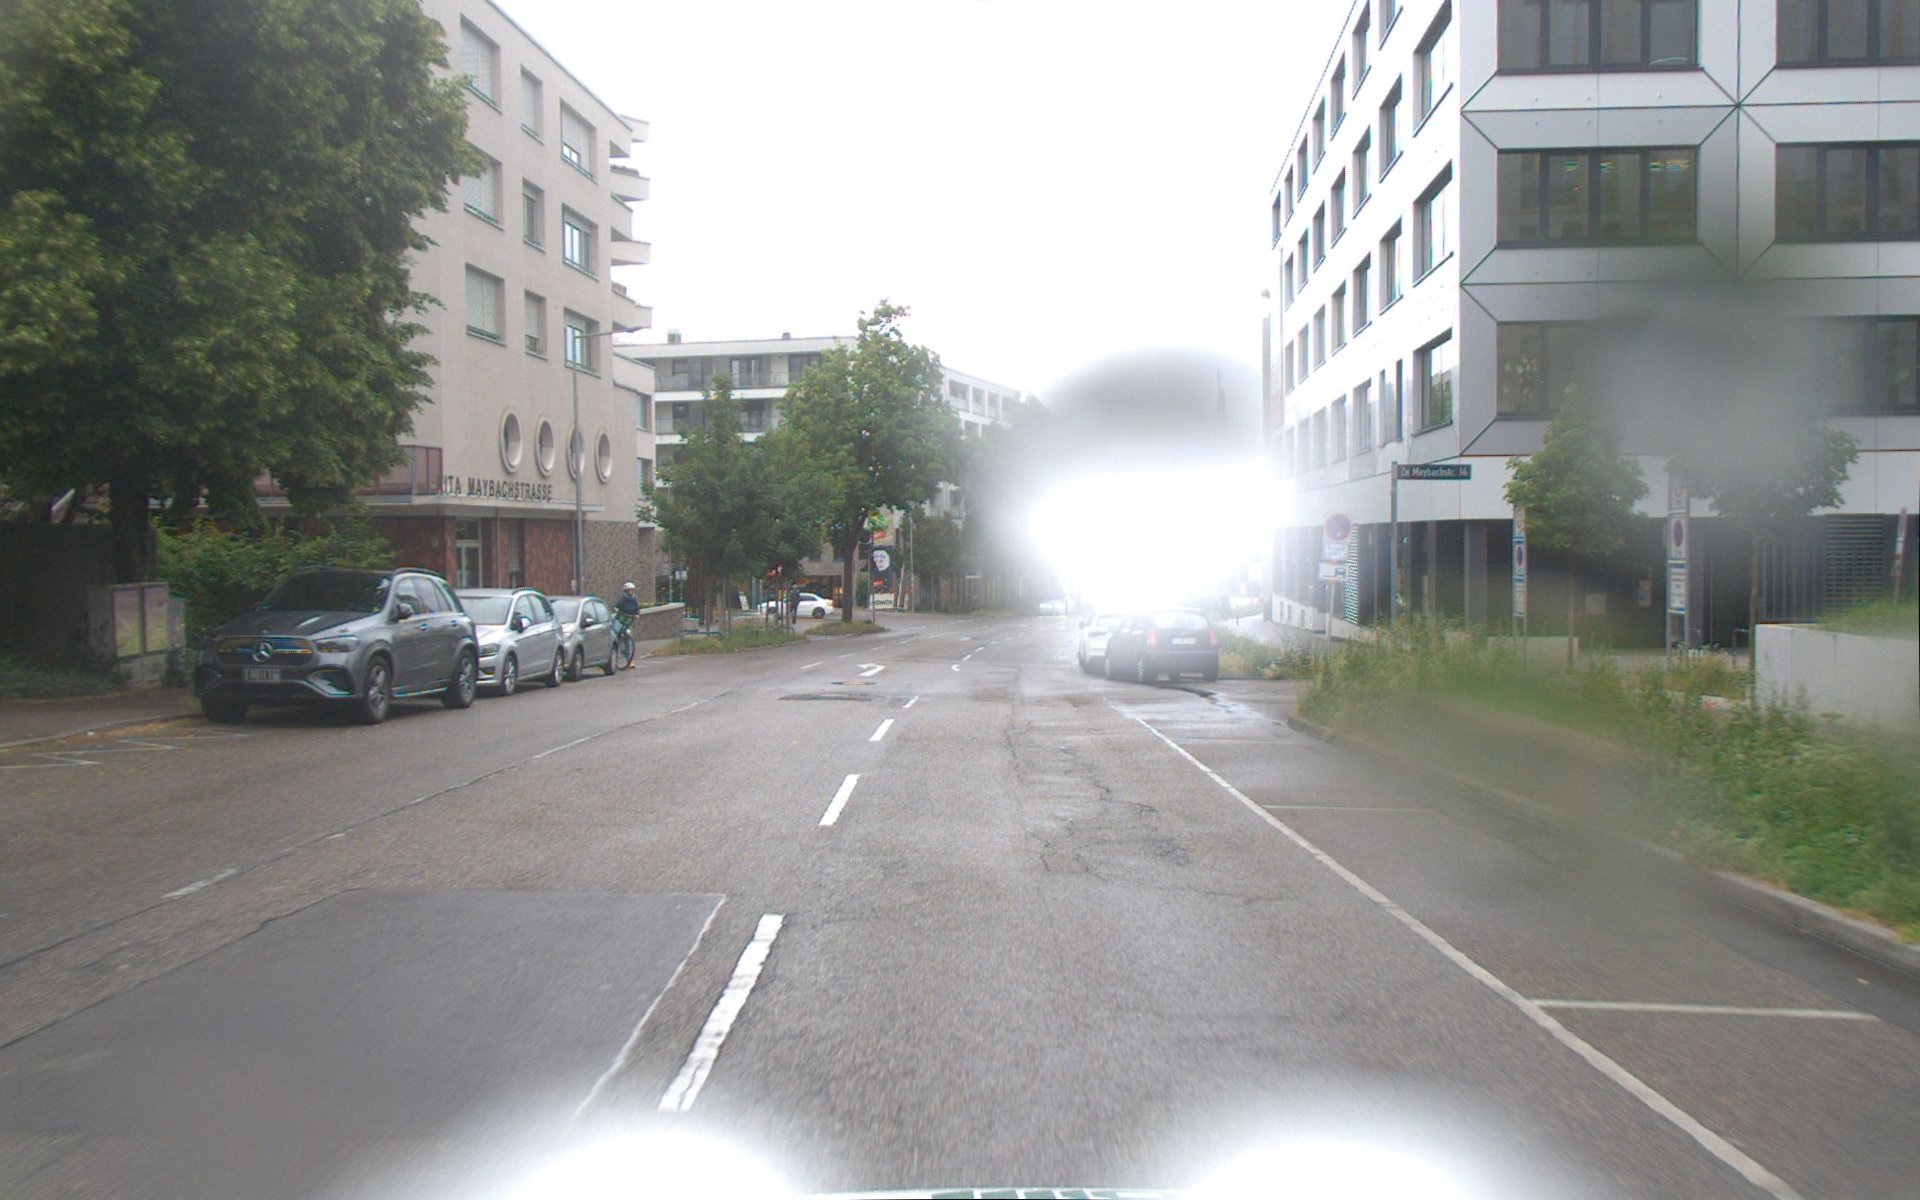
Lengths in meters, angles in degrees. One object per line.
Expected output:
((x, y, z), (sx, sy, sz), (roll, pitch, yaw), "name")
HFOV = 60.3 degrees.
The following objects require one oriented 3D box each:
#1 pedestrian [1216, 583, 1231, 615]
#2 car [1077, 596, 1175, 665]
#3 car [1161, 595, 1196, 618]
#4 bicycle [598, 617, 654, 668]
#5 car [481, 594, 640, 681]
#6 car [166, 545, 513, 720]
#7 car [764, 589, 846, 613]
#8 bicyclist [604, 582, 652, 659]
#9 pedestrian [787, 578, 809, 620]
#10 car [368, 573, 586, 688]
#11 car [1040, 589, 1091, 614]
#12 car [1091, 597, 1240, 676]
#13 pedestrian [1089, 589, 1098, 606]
((15.206, -0.066, 95.338), (0.805, 1.827, 1.209), (0, -1, 10), "pedestrian")
((3.853, 0.675, 39.044), (1.997, 1.490, 4.504), (1, 0, 2), "car")
((15.021, 0.457, 113.741), (1.769, 1.510, 4.498), (1, 0, 15), "car")
((-6.858, 0.856, 34.088), (0.786, 0.996, 2.253), (1, 0, -3), "bicycle")
((-7.320, 0.665, 30.705), (1.840, 1.488, 3.848), (1, 0, 2), "car")
((-7.304, 0.354, 20.221), (1.952, 1.818, 5.412), (1, 0, 3), "car")
((-9.070, 0.036, 96.502), (4.603, 1.315, 1.995), (1, 0, -11), "car")
((-6.852, 0.419, 34.167), (0.785, 1.549, 1.201), (1, 0, -3), "bicyclist")
((-7.875, -0.050, 80.531), (1.034, 2.049, 1.098), (1, 0, -5), "pedestrian")
((-7.445, 0.445, 26.017), (1.948, 1.621, 4.491), (1, 0, 2), "car")
((7.384, 0.075, 115.543), (2.016, 1.690, 4.818), (0, 0, 24), "car")
((4.175, 0.706, 34.191), (2.006, 1.484, 4.047), (1, 0, -9), "car")
((12.894, -0.247, 159.890), (0.693, 1.712, 0.957), (0, 0, 12), "pedestrian")
